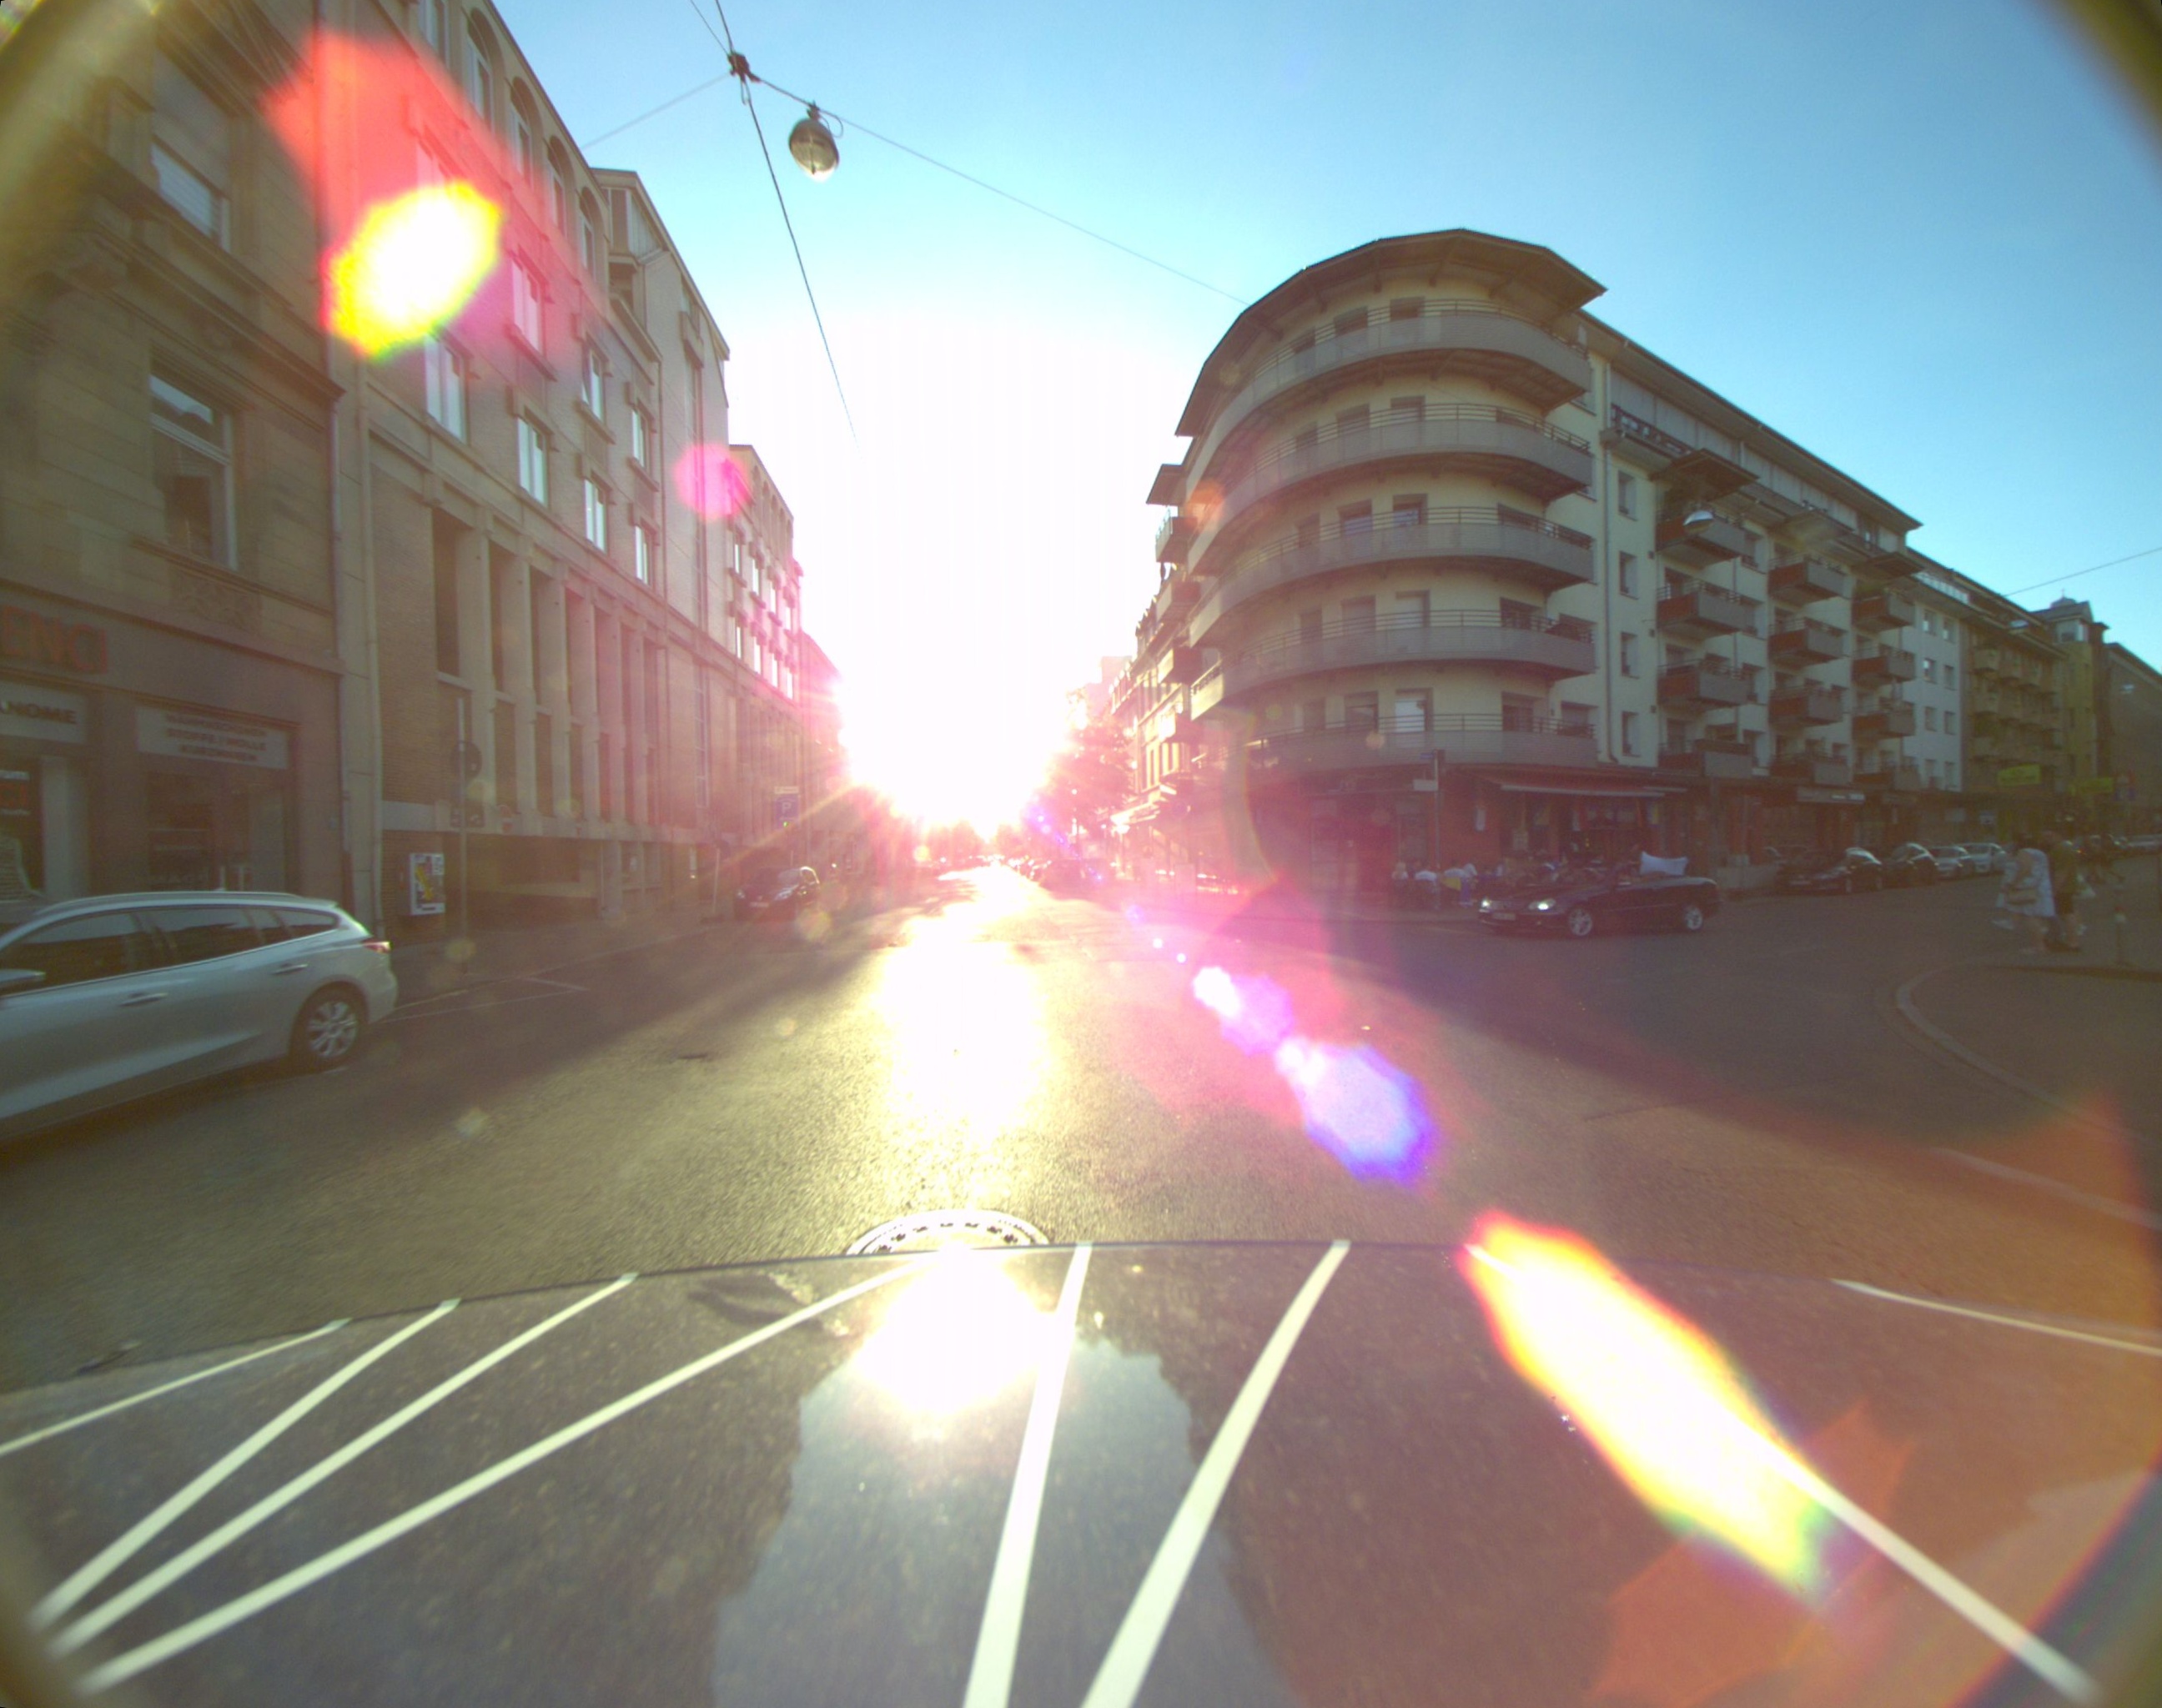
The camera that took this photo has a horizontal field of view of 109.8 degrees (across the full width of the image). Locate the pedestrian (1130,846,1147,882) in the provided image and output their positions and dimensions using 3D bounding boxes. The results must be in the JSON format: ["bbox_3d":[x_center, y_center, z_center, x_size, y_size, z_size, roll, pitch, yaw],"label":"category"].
[{"bbox_3d":[3.202,0.553,42.256,0.730,1.937,0.740,-2,1,-12],"label":"pedestrian"}]

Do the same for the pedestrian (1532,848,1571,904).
[{"bbox_3d":[13.381,0.616,21.601,0.701,1.519,0.648,-1,4,-34],"label":"pedestrian"}]

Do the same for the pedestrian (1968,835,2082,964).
[{"bbox_3d":[13.754,0.645,11.086,0.883,1.792,0.713,-2,-1,-16],"label":"pedestrian"}]

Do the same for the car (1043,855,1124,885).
[{"bbox_3d":[0.110,0.899,43.799,4.444,1.532,1.816,-1,0,-8],"label":"car"}]

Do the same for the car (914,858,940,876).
[{"bbox_3d":[-14.070,1.163,69.409,2.000,1.543,3.997,-1,0,-8],"label":"car"}]

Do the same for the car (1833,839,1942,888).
[{"bbox_3d":[30.340,0.349,28.567,4.144,1.689,1.881,-1,-1,-30],"label":"car"}]

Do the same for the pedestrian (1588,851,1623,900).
[{"bbox_3d":[16.886,0.691,24.449,0.851,1.527,0.716,-2,-1,38],"label":"pedestrian"}]

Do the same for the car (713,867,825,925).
[{"bbox_3d":[-9.119,1.174,22.584,1.999,1.511,3.998,-1,0,-6],"label":"car"}]

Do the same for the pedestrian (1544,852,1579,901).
[{"bbox_3d":[14.390,0.666,22.761,0.562,1.426,0.666,-1,2,-33],"label":"pedestrian"}]

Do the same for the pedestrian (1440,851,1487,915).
[{"bbox_3d":[9.691,0.724,19.275,0.689,1.527,0.713,-5,2,-13],"label":"pedestrian"}]

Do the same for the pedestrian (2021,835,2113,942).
[{"bbox_3d":[17.070,0.580,13.163,0.738,1.783,0.810,-2,-1,-28],"label":"pedestrian"}]

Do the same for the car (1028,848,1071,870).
[{"bbox_3d":[-3.184,0.492,75.962,4.000,2.002,1.998,-2,1,-10],"label":"car"}]

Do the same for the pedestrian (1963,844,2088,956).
[{"bbox_3d":[14.744,0.710,11.891,0.714,1.658,0.883,-2,-3,0],"label":"pedestrian"}]

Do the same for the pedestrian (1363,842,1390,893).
[{"bbox_3d":[10.467,0.476,26.912,0.619,1.766,0.610,-2,0,-33],"label":"pedestrian"}]

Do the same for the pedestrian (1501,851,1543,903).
[{"bbox_3d":[12.970,0.667,22.362,0.784,1.495,0.768,-1,1,-33],"label":"pedestrian"}]

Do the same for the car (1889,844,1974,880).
[{"bbox_3d":[35.910,0.334,32.068,3.974,1.395,1.749,-1,-1,-32],"label":"car"}]

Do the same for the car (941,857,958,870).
[{"bbox_3d":[-16.236,1.181,93.921,1.757,1.543,4.284,-1,0,-7],"label":"car"}]

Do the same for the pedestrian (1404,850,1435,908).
[{"bbox_3d":[9.178,0.683,20.607,0.713,1.527,0.854,-2,-1,25],"label":"pedestrian"}]

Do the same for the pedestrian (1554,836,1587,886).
[{"bbox_3d":[17.182,0.240,26.656,0.670,1.710,0.717,-2,0,-32],"label":"pedestrian"}]

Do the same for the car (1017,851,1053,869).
[{"bbox_3d":[-5.398,0.711,89.784,4.000,2.002,1.998,-2,1,-10],"label":"car"}]

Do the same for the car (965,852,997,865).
[{"bbox_3d":[-15.896,0.756,121.006,4.837,2.002,2.004,-1,0,30],"label":"car"}]

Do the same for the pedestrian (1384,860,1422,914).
[{"bbox_3d":[8.219,0.827,19.370,0.684,1.274,0.969,-1,3,35],"label":"pedestrian"}]

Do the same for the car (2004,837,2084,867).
[{"bbox_3d":[51.278,-0.114,40.458,4.307,1.468,1.895,-1,-1,-28],"label":"car"}]

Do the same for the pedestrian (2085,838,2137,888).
[{"bbox_3d":[36.646,0.314,27.031,0.921,1.716,0.832,-2,0,-17],"label":"pedestrian"}]

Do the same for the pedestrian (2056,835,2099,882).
[{"bbox_3d":[36.723,0.169,27.997,0.704,1.716,0.918,-2,0,-35],"label":"pedestrian"}]

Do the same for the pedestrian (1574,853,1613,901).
[{"bbox_3d":[14.887,0.651,22.086,0.750,1.337,0.653,-1,3,-33],"label":"pedestrian"}]

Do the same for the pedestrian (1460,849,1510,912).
[{"bbox_3d":[10.369,0.665,19.519,0.854,1.528,0.712,-1,5,-29],"label":"pedestrian"}]

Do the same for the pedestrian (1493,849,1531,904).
[{"bbox_3d":[12.425,0.638,21.910,0.656,1.527,0.674,-1,3,-33],"label":"pedestrian"}]

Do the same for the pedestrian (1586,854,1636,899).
[{"bbox_3d":[15.817,0.657,22.705,0.853,1.298,0.877,-2,2,-11],"label":"pedestrian"}]

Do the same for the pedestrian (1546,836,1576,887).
[{"bbox_3d":[16.576,0.252,26.239,0.619,1.728,0.611,-2,0,-32],"label":"pedestrian"}]

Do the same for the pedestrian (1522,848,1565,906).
[{"bbox_3d":[12.811,0.625,21.050,0.761,1.528,0.712,-1,4,-34],"label":"pedestrian"}]

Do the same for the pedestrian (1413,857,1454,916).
[{"bbox_3d":[8.687,0.784,18.720,0.768,1.374,0.841,0,2,34],"label":"pedestrian"}]

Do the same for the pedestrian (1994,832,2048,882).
[{"bbox_3d":[35.889,0.121,29.036,1.005,1.816,0.948,-2,-1,33],"label":"pedestrian"}]

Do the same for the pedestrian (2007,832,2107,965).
[{"bbox_3d":[14.367,0.634,11.192,0.853,1.865,0.713,-2,-1,-28],"label":"pedestrian"}]

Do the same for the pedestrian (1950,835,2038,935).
[{"bbox_3d":[17.002,0.567,14.153,0.870,1.783,0.850,-1,-1,-28],"label":"pedestrian"}]

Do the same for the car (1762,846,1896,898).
[{"bbox_3d":[25.178,0.574,25.545,4.637,1.542,1.876,-1,-1,-28],"label":"car"}]

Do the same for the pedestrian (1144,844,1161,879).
[{"bbox_3d":[3.981,0.424,42.390,0.730,1.937,0.804,-2,1,-12],"label":"pedestrian"}]

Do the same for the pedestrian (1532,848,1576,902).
[{"bbox_3d":[13.883,0.618,22.326,0.681,1.527,0.851,-1,-1,-34],"label":"pedestrian"}]

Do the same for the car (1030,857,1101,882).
[{"bbox_3d":[-0.974,0.920,46.120,4.000,1.412,1.998,-1,0,-10],"label":"car"}]

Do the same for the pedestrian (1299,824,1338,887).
[{"bbox_3d":[7.782,0.035,24.919,0.862,2.002,0.813,-3,1,-16],"label":"pedestrian"}]

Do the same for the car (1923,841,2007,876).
[{"bbox_3d":[40.537,0.184,34.831,3.953,1.468,1.765,-1,-1,-30],"label":"car"}]

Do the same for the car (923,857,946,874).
[{"bbox_3d":[-14.861,1.146,77.141,2.000,1.543,3.997,-1,0,-8],"label":"car"}]

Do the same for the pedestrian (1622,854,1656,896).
[{"bbox_3d":[17.573,0.647,23.917,0.850,1.271,0.716,0,4,38],"label":"pedestrian"}]

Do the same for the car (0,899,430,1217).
[{"bbox_3d":[-6.672,1.148,4.516,2.000,1.526,4.679,-2,-1,-8],"label":"car"}]

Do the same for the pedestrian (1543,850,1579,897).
[{"bbox_3d":[14.882,0.593,23.547,0.603,1.413,0.713,-1,-1,-31],"label":"pedestrian"}]

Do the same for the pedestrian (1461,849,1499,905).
[{"bbox_3d":[11.081,0.637,21.116,0.648,1.527,0.753,-2,-1,2],"label":"pedestrian"}]

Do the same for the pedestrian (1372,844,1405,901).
[{"bbox_3d":[11.102,0.649,27.460,0.671,2.002,0.812,-2,0,-31],"label":"pedestrian"}]

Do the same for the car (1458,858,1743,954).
[{"bbox_3d":[9.566,0.864,14.048,4.619,1.400,1.808,-2,2,-16],"label":"car"}]
